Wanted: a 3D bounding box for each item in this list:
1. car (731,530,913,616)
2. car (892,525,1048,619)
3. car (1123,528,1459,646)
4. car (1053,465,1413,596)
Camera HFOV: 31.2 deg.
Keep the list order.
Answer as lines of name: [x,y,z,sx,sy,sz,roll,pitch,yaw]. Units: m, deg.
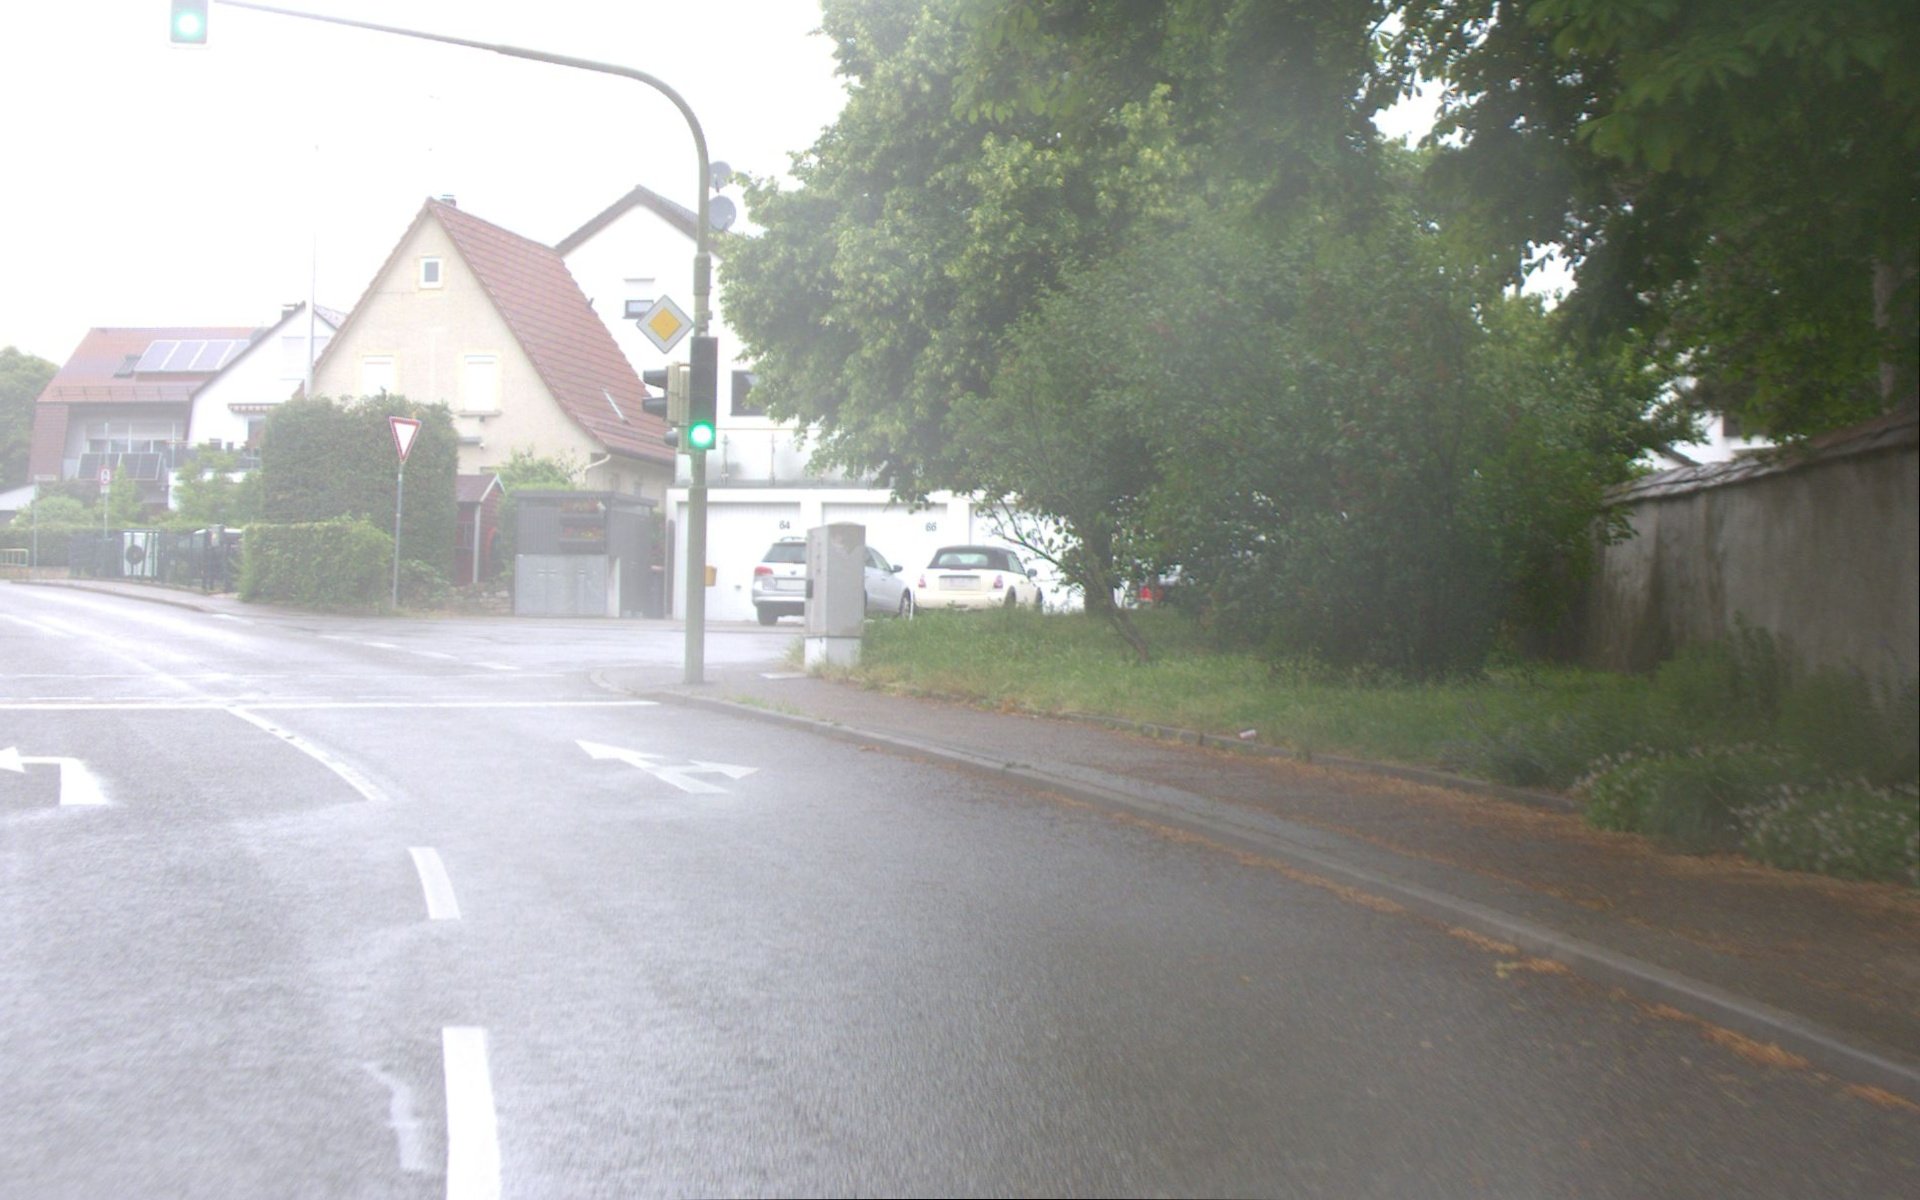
car: [-2.323,-0.497,59.195,1.995,1.393,4.148,0,2,15]
car: [0.209,-0.502,58.825,1.994,1.525,3.998,0,2,11]
car: [4.398,-0.190,46.074,4.174,1.437,1.834,2,1,-5]
car: [3.082,-0.787,39.169,3.987,1.450,1.854,0,1,3]
